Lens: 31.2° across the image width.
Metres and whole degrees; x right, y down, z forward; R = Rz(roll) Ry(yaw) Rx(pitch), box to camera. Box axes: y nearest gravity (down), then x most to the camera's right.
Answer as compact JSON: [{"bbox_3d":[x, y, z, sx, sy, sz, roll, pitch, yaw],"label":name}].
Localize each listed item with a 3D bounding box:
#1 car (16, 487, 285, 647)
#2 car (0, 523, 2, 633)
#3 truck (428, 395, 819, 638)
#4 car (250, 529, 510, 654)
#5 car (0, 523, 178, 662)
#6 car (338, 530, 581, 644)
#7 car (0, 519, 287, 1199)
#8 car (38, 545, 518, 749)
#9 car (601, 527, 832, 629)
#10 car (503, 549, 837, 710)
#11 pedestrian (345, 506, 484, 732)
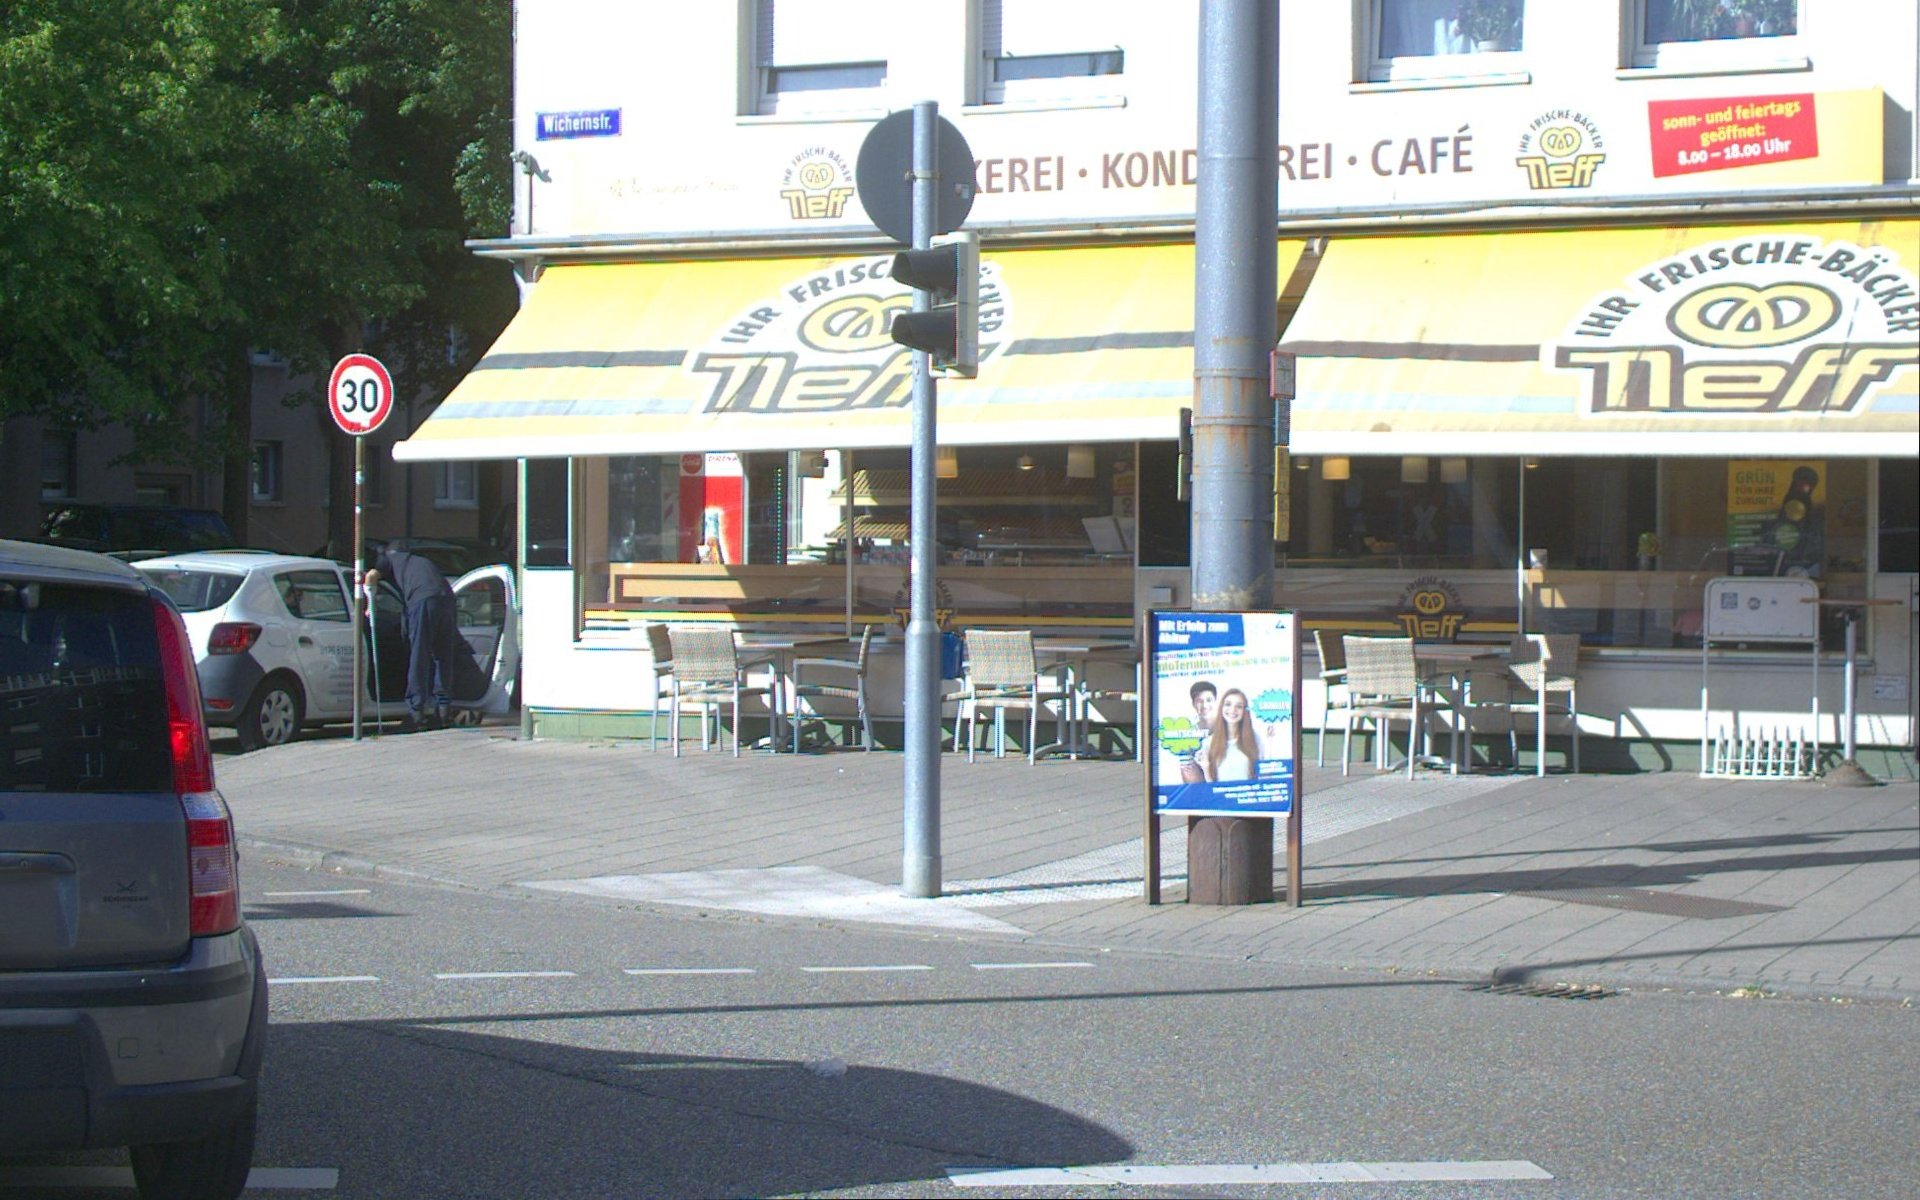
[{"bbox_3d":[-10.066,-0.437,42.530,1.929,1.867,4.503,0,1,-31],"label":"car"},{"bbox_3d":[-14.386,-0.277,44.847,1.755,1.481,3.946,1,1,18],"label":"car"},{"bbox_3d":[-5.049,-1.189,50.237,2.539,3.282,7.325,-1,1,-34],"label":"truck"},{"bbox_3d":[-7.510,-0.148,44.178,1.808,1.502,4.344,0,1,-31],"label":"car"},{"bbox_3d":[-10.385,-0.118,38.548,1.756,1.476,3.823,0,1,-36],"label":"car"},{"bbox_3d":[-7.083,-0.216,48.308,1.808,1.502,4.344,0,1,-31],"label":"car"},{"bbox_3d":[-2.817,0.584,8.311,1.616,1.556,3.258,0,1,-25],"label":"car"},{"bbox_3d":[-5.389,0.311,27.652,1.721,1.492,4.017,1,1,26],"label":"car"},{"bbox_3d":[-3.835,-0.360,53.675,1.842,1.497,4.000,0,1,-34],"label":"car"},{"bbox_3d":[-2.766,0.239,33.509,1.599,1.458,3.667,1,1,26],"label":"car"},{"bbox_3d":[-4.219,0.134,26.619,0.760,1.716,0.744,1,1,31],"label":"pedestrian"}]
